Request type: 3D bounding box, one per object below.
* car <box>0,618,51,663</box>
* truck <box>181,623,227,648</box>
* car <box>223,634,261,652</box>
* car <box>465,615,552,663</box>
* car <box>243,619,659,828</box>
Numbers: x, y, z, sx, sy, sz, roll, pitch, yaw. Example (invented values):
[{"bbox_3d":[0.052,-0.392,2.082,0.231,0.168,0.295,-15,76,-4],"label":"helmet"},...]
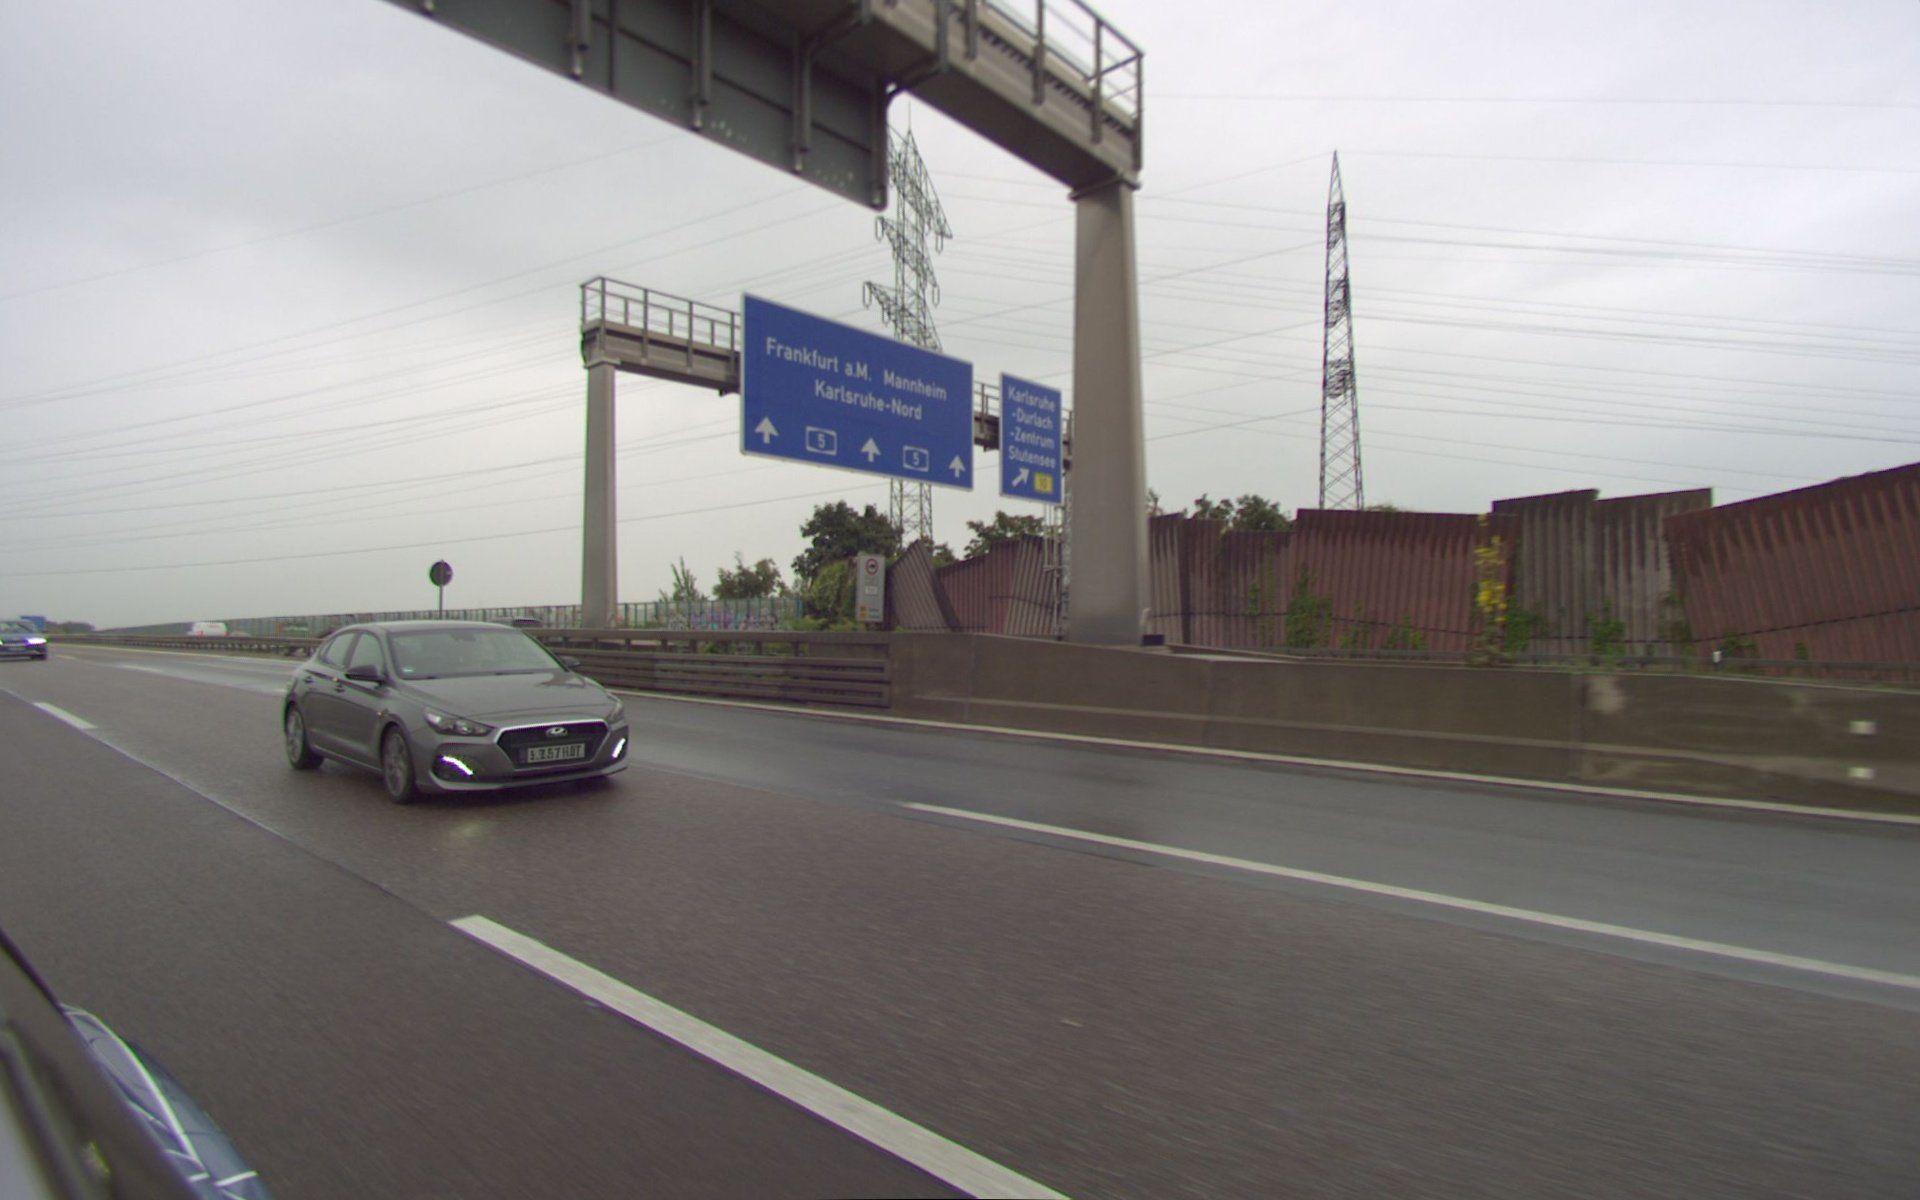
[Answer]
[{"bbox_3d":[-36.966,1.533,39.395,5.154,1.606,1.819,-1,-1,42],"label":"car"},{"bbox_3d":[-62.181,2.914,83.226,5.247,1.945,1.972,-2,-2,41],"label":"truck"},{"bbox_3d":[-72.411,4.292,102.019,5.104,1.797,1.973,-2,-2,41],"label":"car"},{"bbox_3d":[-19.804,1.677,44.327,4.170,1.946,1.972,-1,0,42],"label":"car"},{"bbox_3d":[-4.849,0.900,9.264,4.826,1.413,1.707,-1,-1,41],"label":"car"}]
